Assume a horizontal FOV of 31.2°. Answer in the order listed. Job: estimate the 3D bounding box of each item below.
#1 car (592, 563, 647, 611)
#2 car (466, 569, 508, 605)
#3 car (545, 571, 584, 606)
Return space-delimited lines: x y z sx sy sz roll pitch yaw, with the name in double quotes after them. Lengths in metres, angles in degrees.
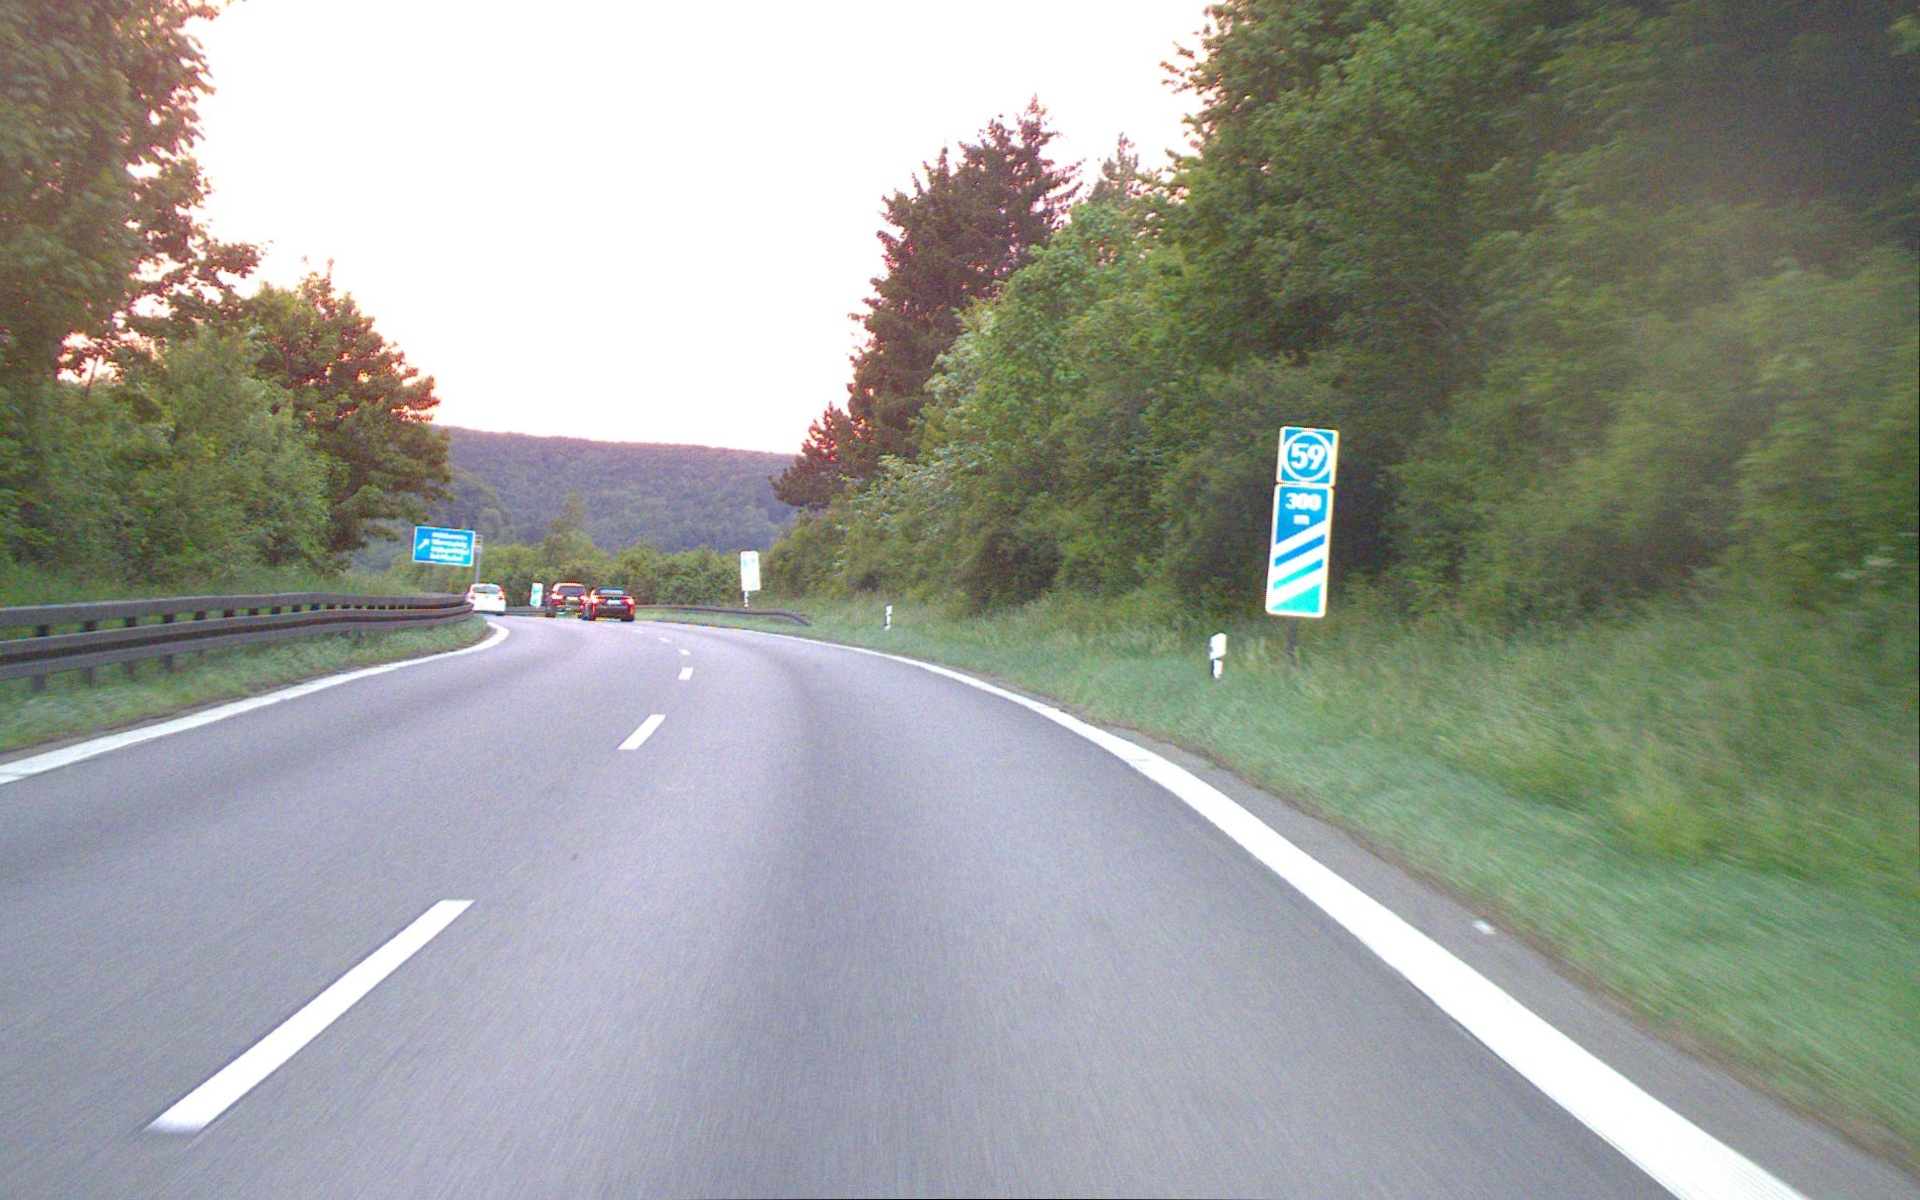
-14.191 -0.526 143.016 1.993 1.640 4.000 5 -3 -7 "car"
-21.998 -0.573 160.038 1.718 1.496 4.000 3 -1 -6 "car"
-18.906 -0.538 164.231 1.718 1.629 4.001 1 0 -8 "car"
